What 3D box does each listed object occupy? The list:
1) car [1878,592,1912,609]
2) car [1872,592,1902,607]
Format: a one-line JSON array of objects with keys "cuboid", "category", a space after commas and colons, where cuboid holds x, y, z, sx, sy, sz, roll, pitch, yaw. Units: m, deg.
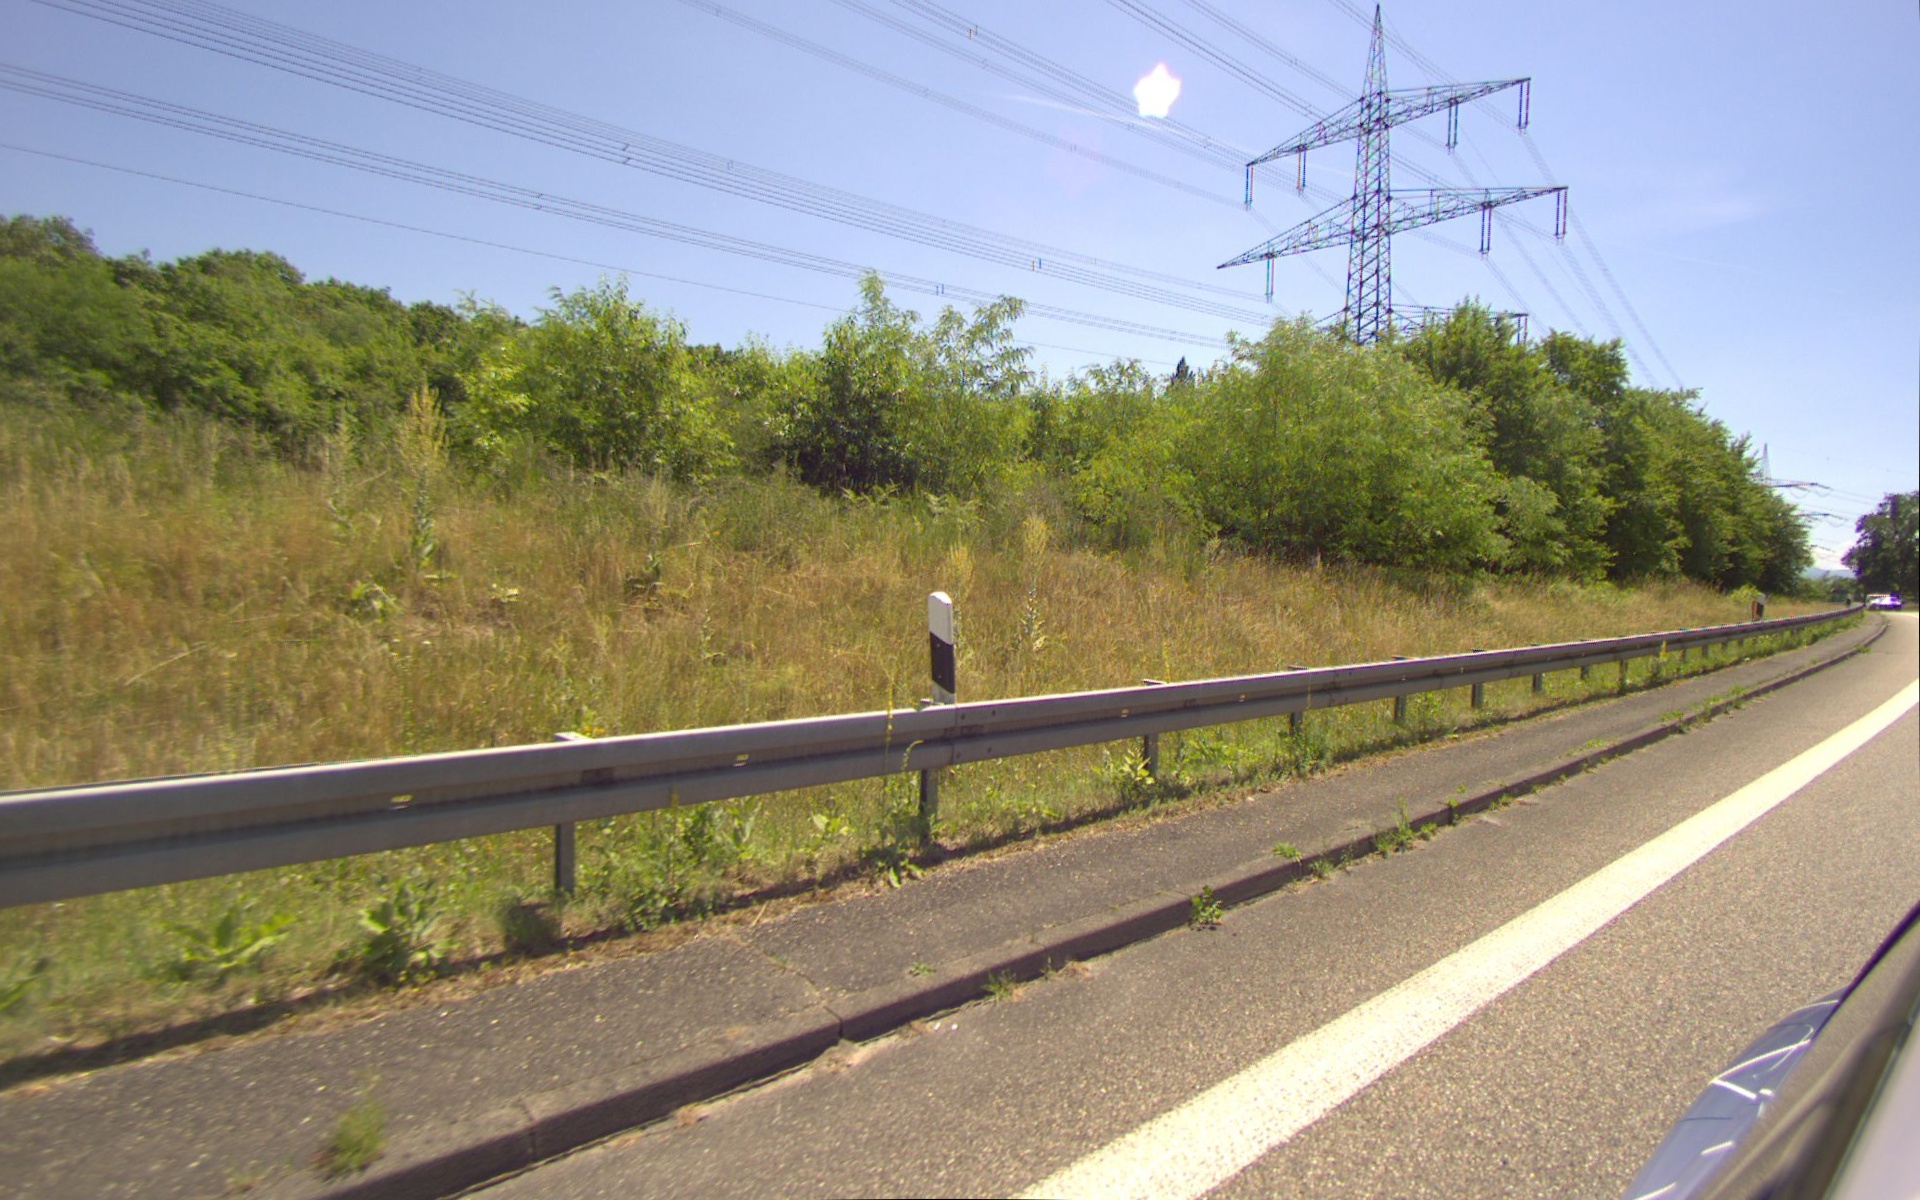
[{"cuboid": [97.275, 0.028, 105.324, 1.987, 1.705, 3.950, 0, 0, 35], "category": "car"}, {"cuboid": [108.295, -0.081, 118.244, 1.987, 1.705, 3.950, 0, 0, 35], "category": "car"}]
